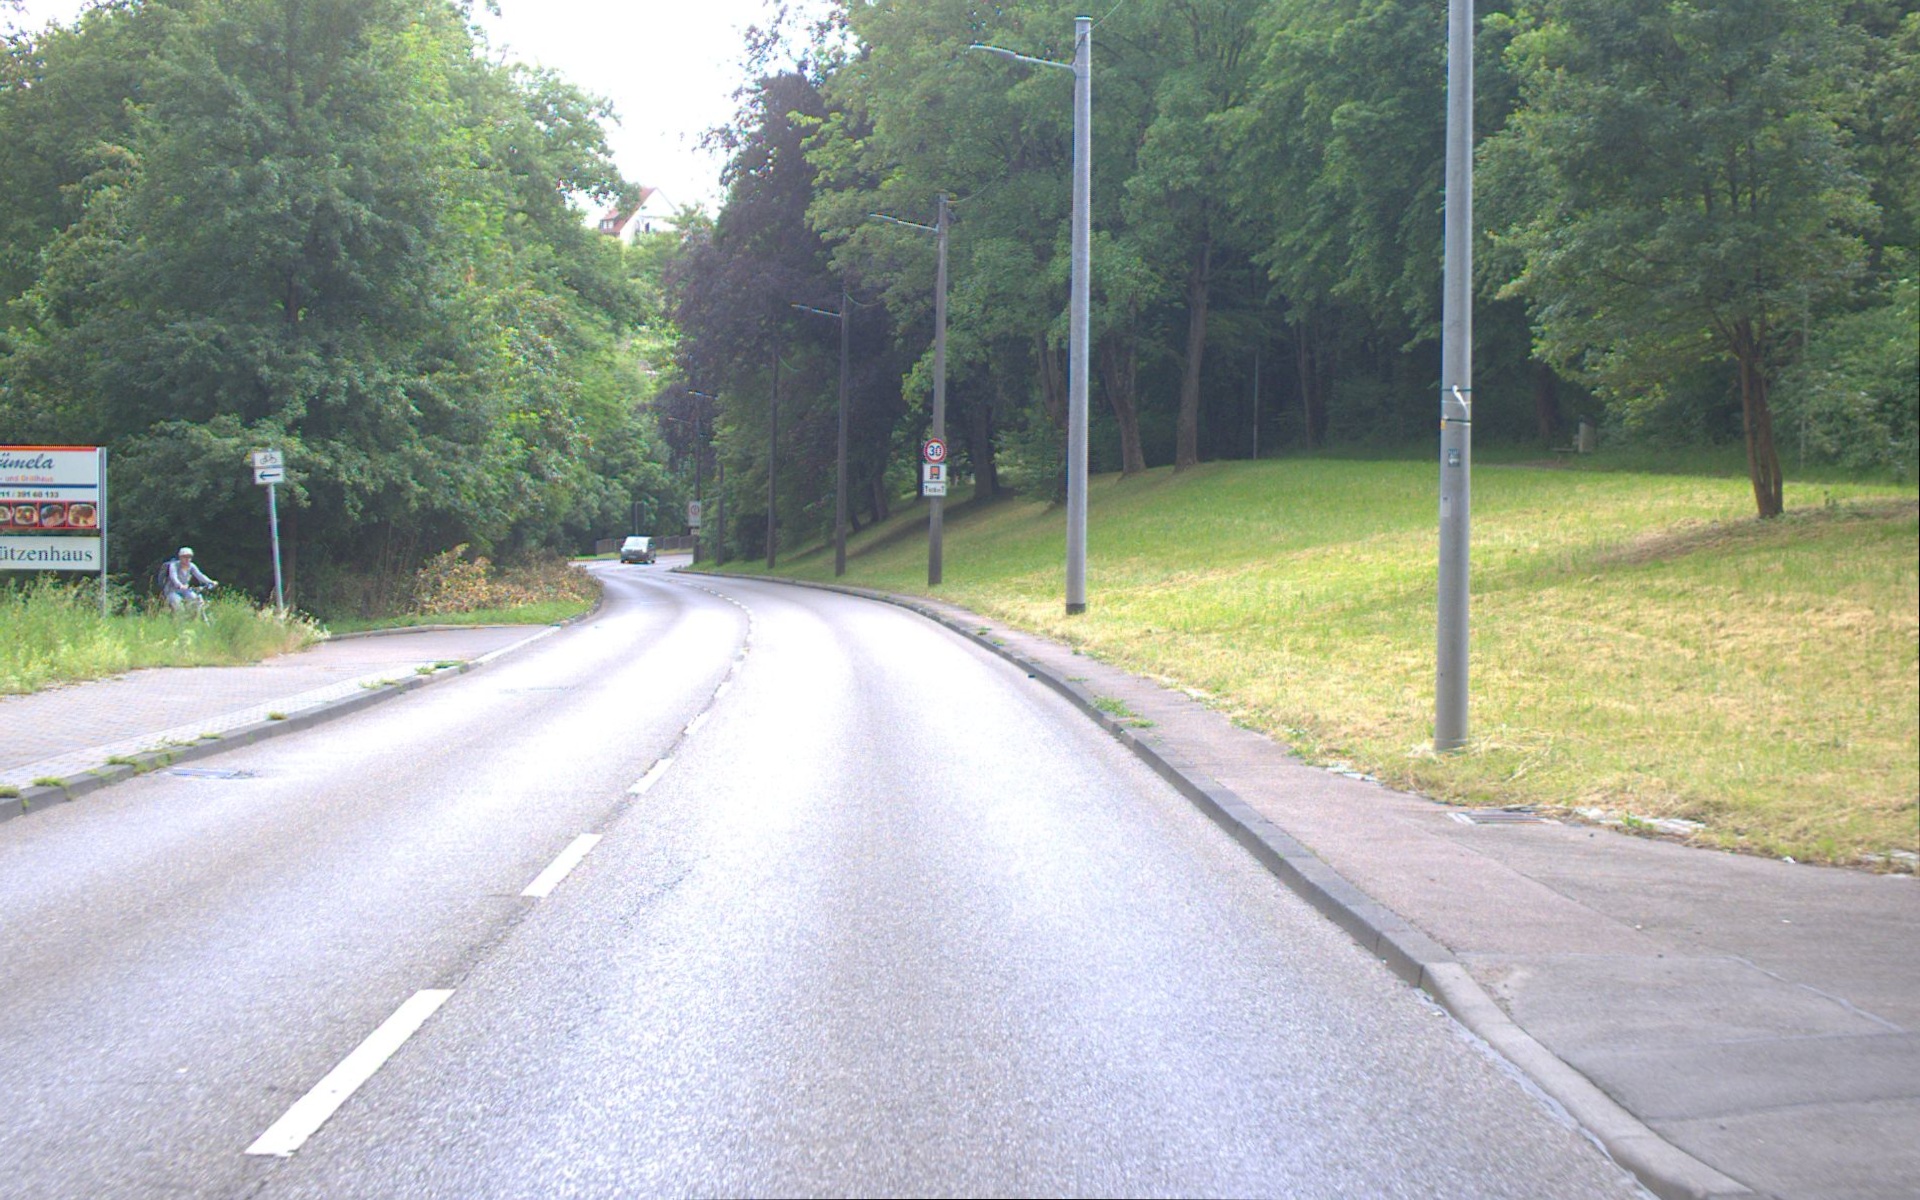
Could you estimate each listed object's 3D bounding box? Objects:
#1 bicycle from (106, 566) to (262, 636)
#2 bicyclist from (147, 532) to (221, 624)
[{"bbox_3d":[-12.205,0.009,54.022,2.439,1.033,0.830,2,0,29],"label":"bicycle"},{"bbox_3d":[-12.182,-0.344,53.995,0.780,1.423,0.828,1,0,30],"label":"bicyclist"}]
